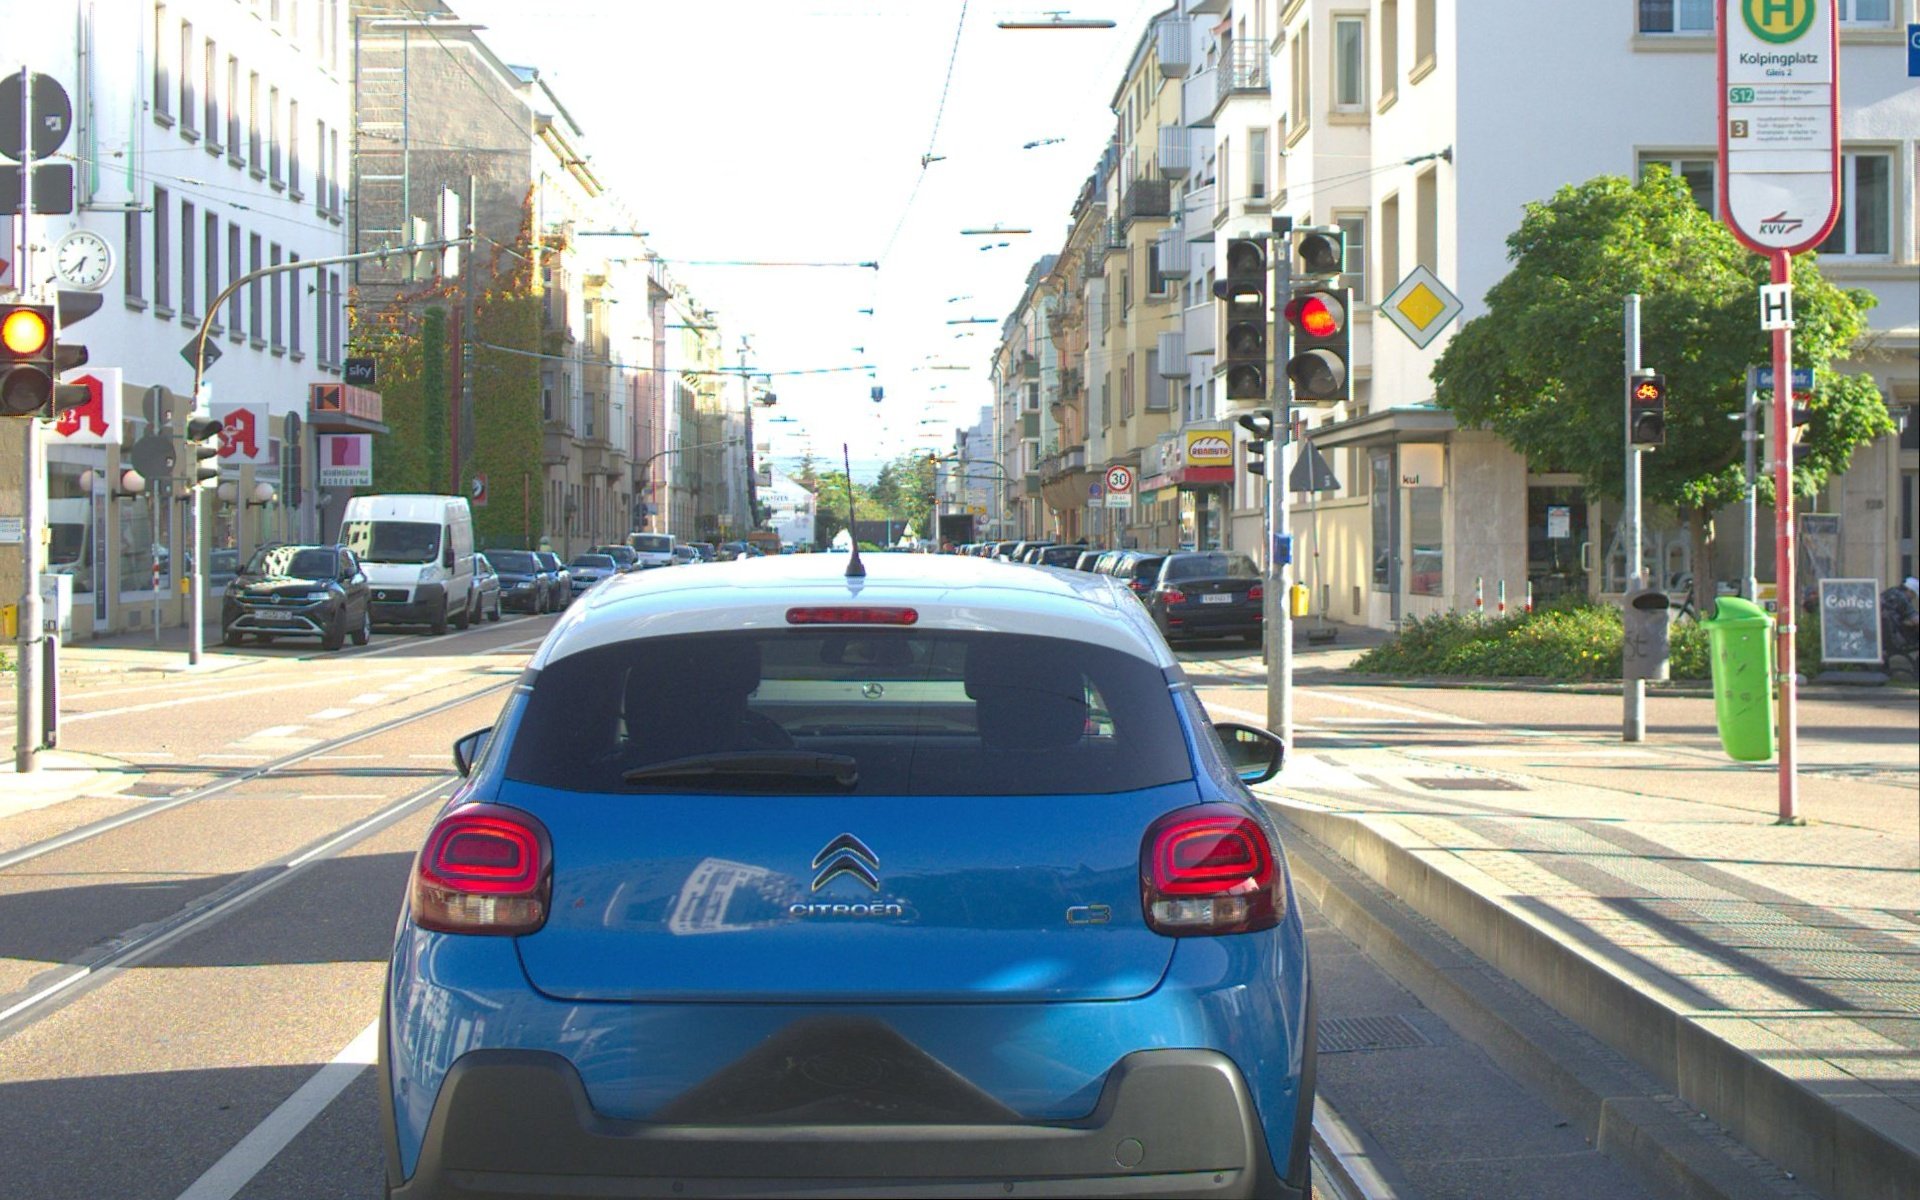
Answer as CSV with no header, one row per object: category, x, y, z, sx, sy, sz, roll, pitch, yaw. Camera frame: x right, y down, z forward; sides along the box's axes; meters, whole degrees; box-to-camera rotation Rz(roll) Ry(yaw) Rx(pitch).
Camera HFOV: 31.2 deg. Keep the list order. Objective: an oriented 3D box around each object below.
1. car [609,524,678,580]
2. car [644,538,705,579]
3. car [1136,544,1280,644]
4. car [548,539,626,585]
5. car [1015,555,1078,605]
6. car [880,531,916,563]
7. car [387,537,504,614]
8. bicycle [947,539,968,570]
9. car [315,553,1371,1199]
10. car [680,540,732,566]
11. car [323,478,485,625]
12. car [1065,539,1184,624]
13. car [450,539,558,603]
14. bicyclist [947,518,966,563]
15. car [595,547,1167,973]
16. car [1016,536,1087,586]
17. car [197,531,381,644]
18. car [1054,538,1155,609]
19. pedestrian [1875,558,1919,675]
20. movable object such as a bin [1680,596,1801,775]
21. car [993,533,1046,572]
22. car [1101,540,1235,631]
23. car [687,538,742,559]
car,-11.647,-1.765,126.763,2.006,2.007,4.689,1,0,1
car,-11.315,-1.643,136.623,1.955,1.547,3.938,1,0,2
car,3.742,-0.119,52.434,1.909,1.459,4.000,0,1,0
car,-11.170,-1.136,103.129,1.993,1.320,3.923,1,0,-2
car,2.750,-0.656,109.484,1.993,1.546,4.000,0,1,1
car,-3.436,-2.939,191.439,1.993,1.766,4.000,0,1,-1
car,-10.374,-0.492,69.522,1.888,1.491,3.562,1,0,-2
bicycle,-0.127,-2.029,152.215,0.920,1.384,3.132,0,1,0
car,-0.223,0.655,7.597,1.728,1.477,3.827,1,1,-1
car,-11.370,-2.109,154.128,1.993,1.152,4.000,0,1,0
car,-10.081,-0.891,62.761,2.085,2.533,6.206,1,1,-2
car,2.981,-0.362,62.923,1.993,1.496,4.000,0,1,0
car,-10.323,-0.665,78.137,1.993,1.393,4.157,1,0,-2
bicyclist,-0.163,-2.636,152.268,0.809,2.007,0.922,1,0,0
car,-0.312,0.527,14.485,1.984,1.459,4.816,1,1,-1
car,2.695,-1.171,102.029,1.993,1.459,4.504,0,1,0
car,-10.171,-0.201,52.408,1.993,1.563,4.403,3,0,-2
car,3.049,-0.580,73.239,1.993,1.459,4.000,0,1,0
pedestrian,10.820,0.182,39.061,0.741,1.311,0.627,0,1,23
movable object such as a bin,3.510,0.378,15.480,0.449,0.783,0.489,0,1,2
car,2.296,-1.848,133.213,1.993,1.459,4.000,0,1,0
car,3.416,-0.259,57.090,1.993,1.459,4.000,0,1,0
car,-13.180,-2.769,184.817,1.994,1.152,4.513,0,1,9
